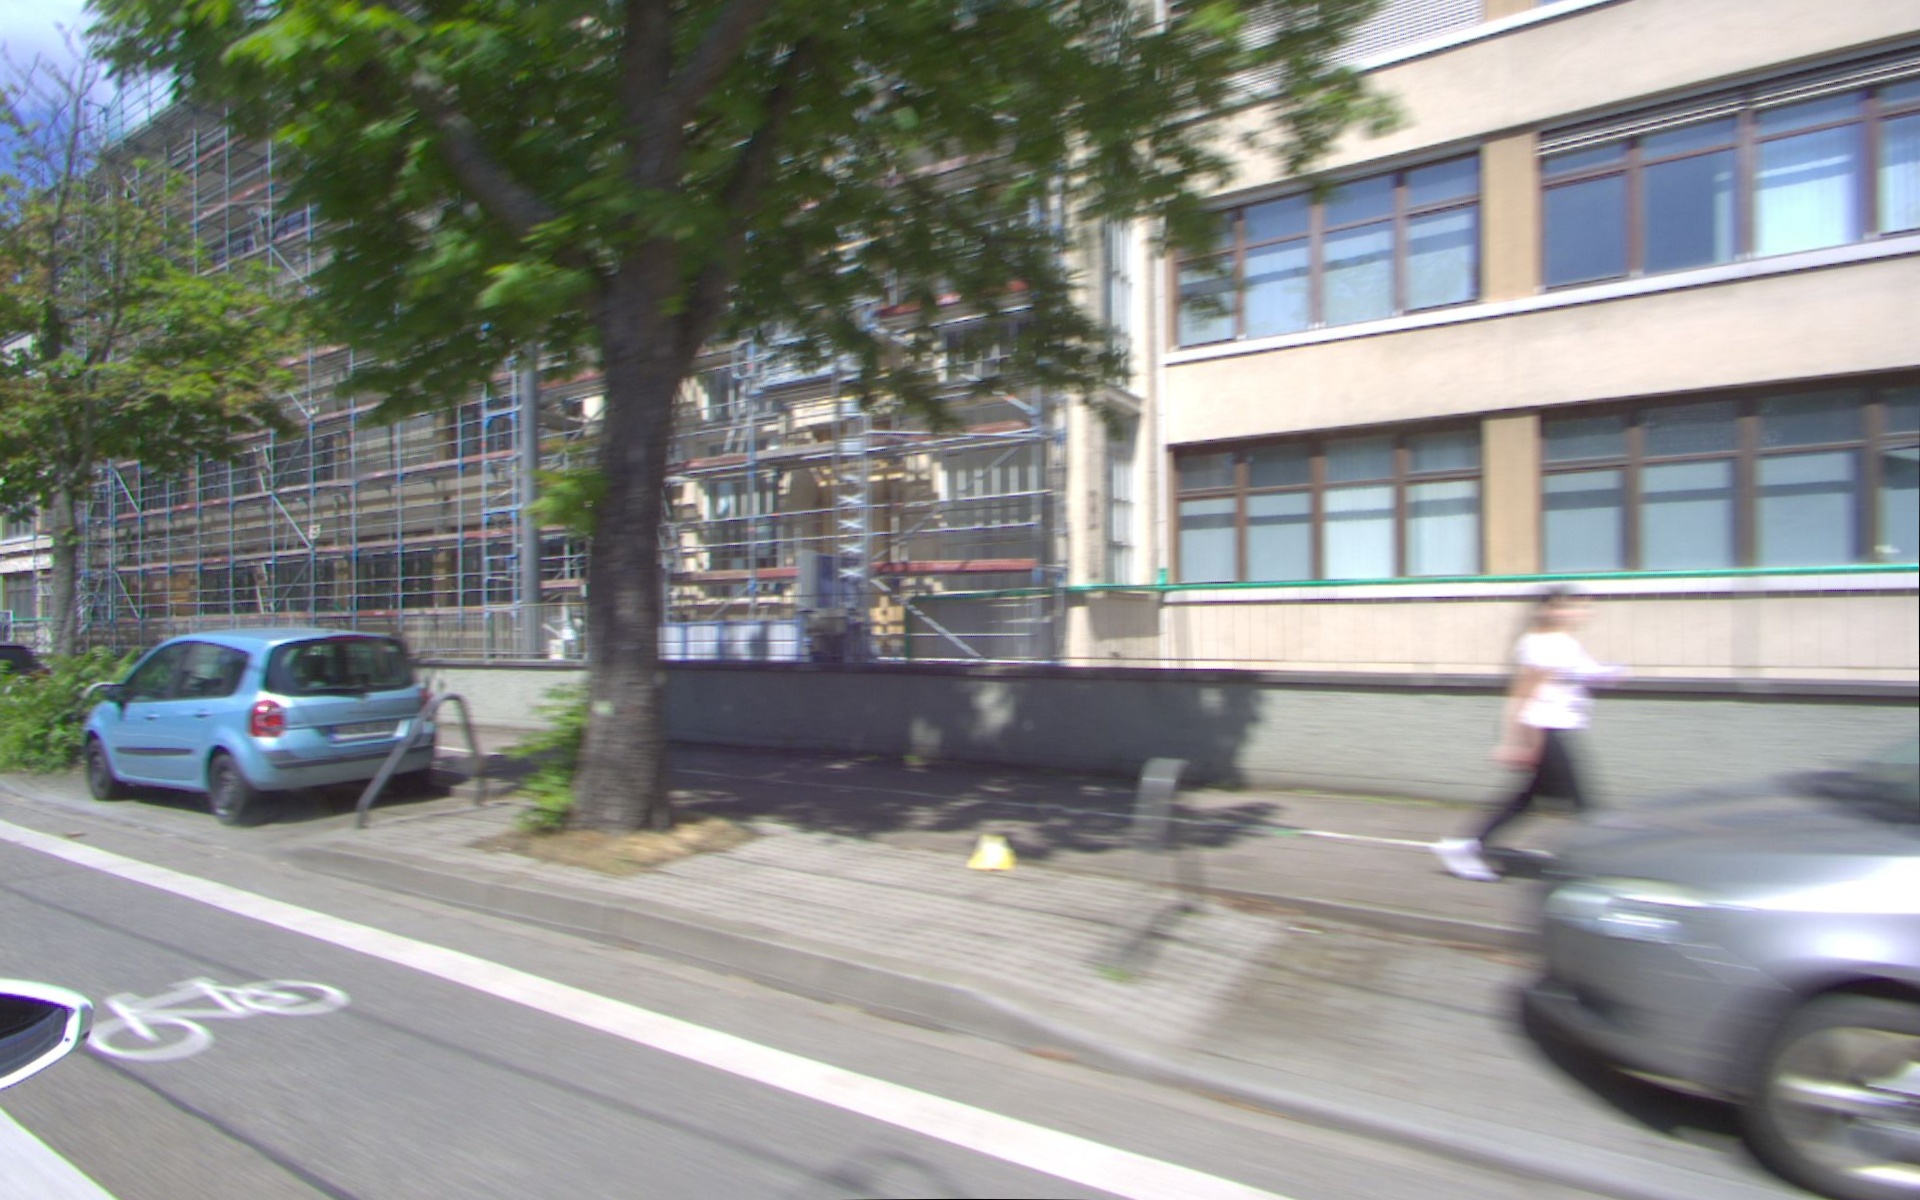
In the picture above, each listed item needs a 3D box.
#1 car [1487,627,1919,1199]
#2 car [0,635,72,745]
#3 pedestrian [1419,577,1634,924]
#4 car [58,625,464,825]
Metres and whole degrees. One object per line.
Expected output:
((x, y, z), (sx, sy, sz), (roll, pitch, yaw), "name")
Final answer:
((3.875, 0.835, 2.720), (4.299, 1.518, 1.670), (-1, -1, 29), "car")
((-14.647, 1.245, 14.451), (3.983, 1.456, 1.669), (-1, -1, 31), "car")
((2.933, 0.700, 5.212), (0.906, 1.610, 0.798), (0, 1, 31), "pedestrian")
((-6.721, 1.009, 9.521), (4.140, 1.537, 1.669), (-1, -1, 31), "car")
